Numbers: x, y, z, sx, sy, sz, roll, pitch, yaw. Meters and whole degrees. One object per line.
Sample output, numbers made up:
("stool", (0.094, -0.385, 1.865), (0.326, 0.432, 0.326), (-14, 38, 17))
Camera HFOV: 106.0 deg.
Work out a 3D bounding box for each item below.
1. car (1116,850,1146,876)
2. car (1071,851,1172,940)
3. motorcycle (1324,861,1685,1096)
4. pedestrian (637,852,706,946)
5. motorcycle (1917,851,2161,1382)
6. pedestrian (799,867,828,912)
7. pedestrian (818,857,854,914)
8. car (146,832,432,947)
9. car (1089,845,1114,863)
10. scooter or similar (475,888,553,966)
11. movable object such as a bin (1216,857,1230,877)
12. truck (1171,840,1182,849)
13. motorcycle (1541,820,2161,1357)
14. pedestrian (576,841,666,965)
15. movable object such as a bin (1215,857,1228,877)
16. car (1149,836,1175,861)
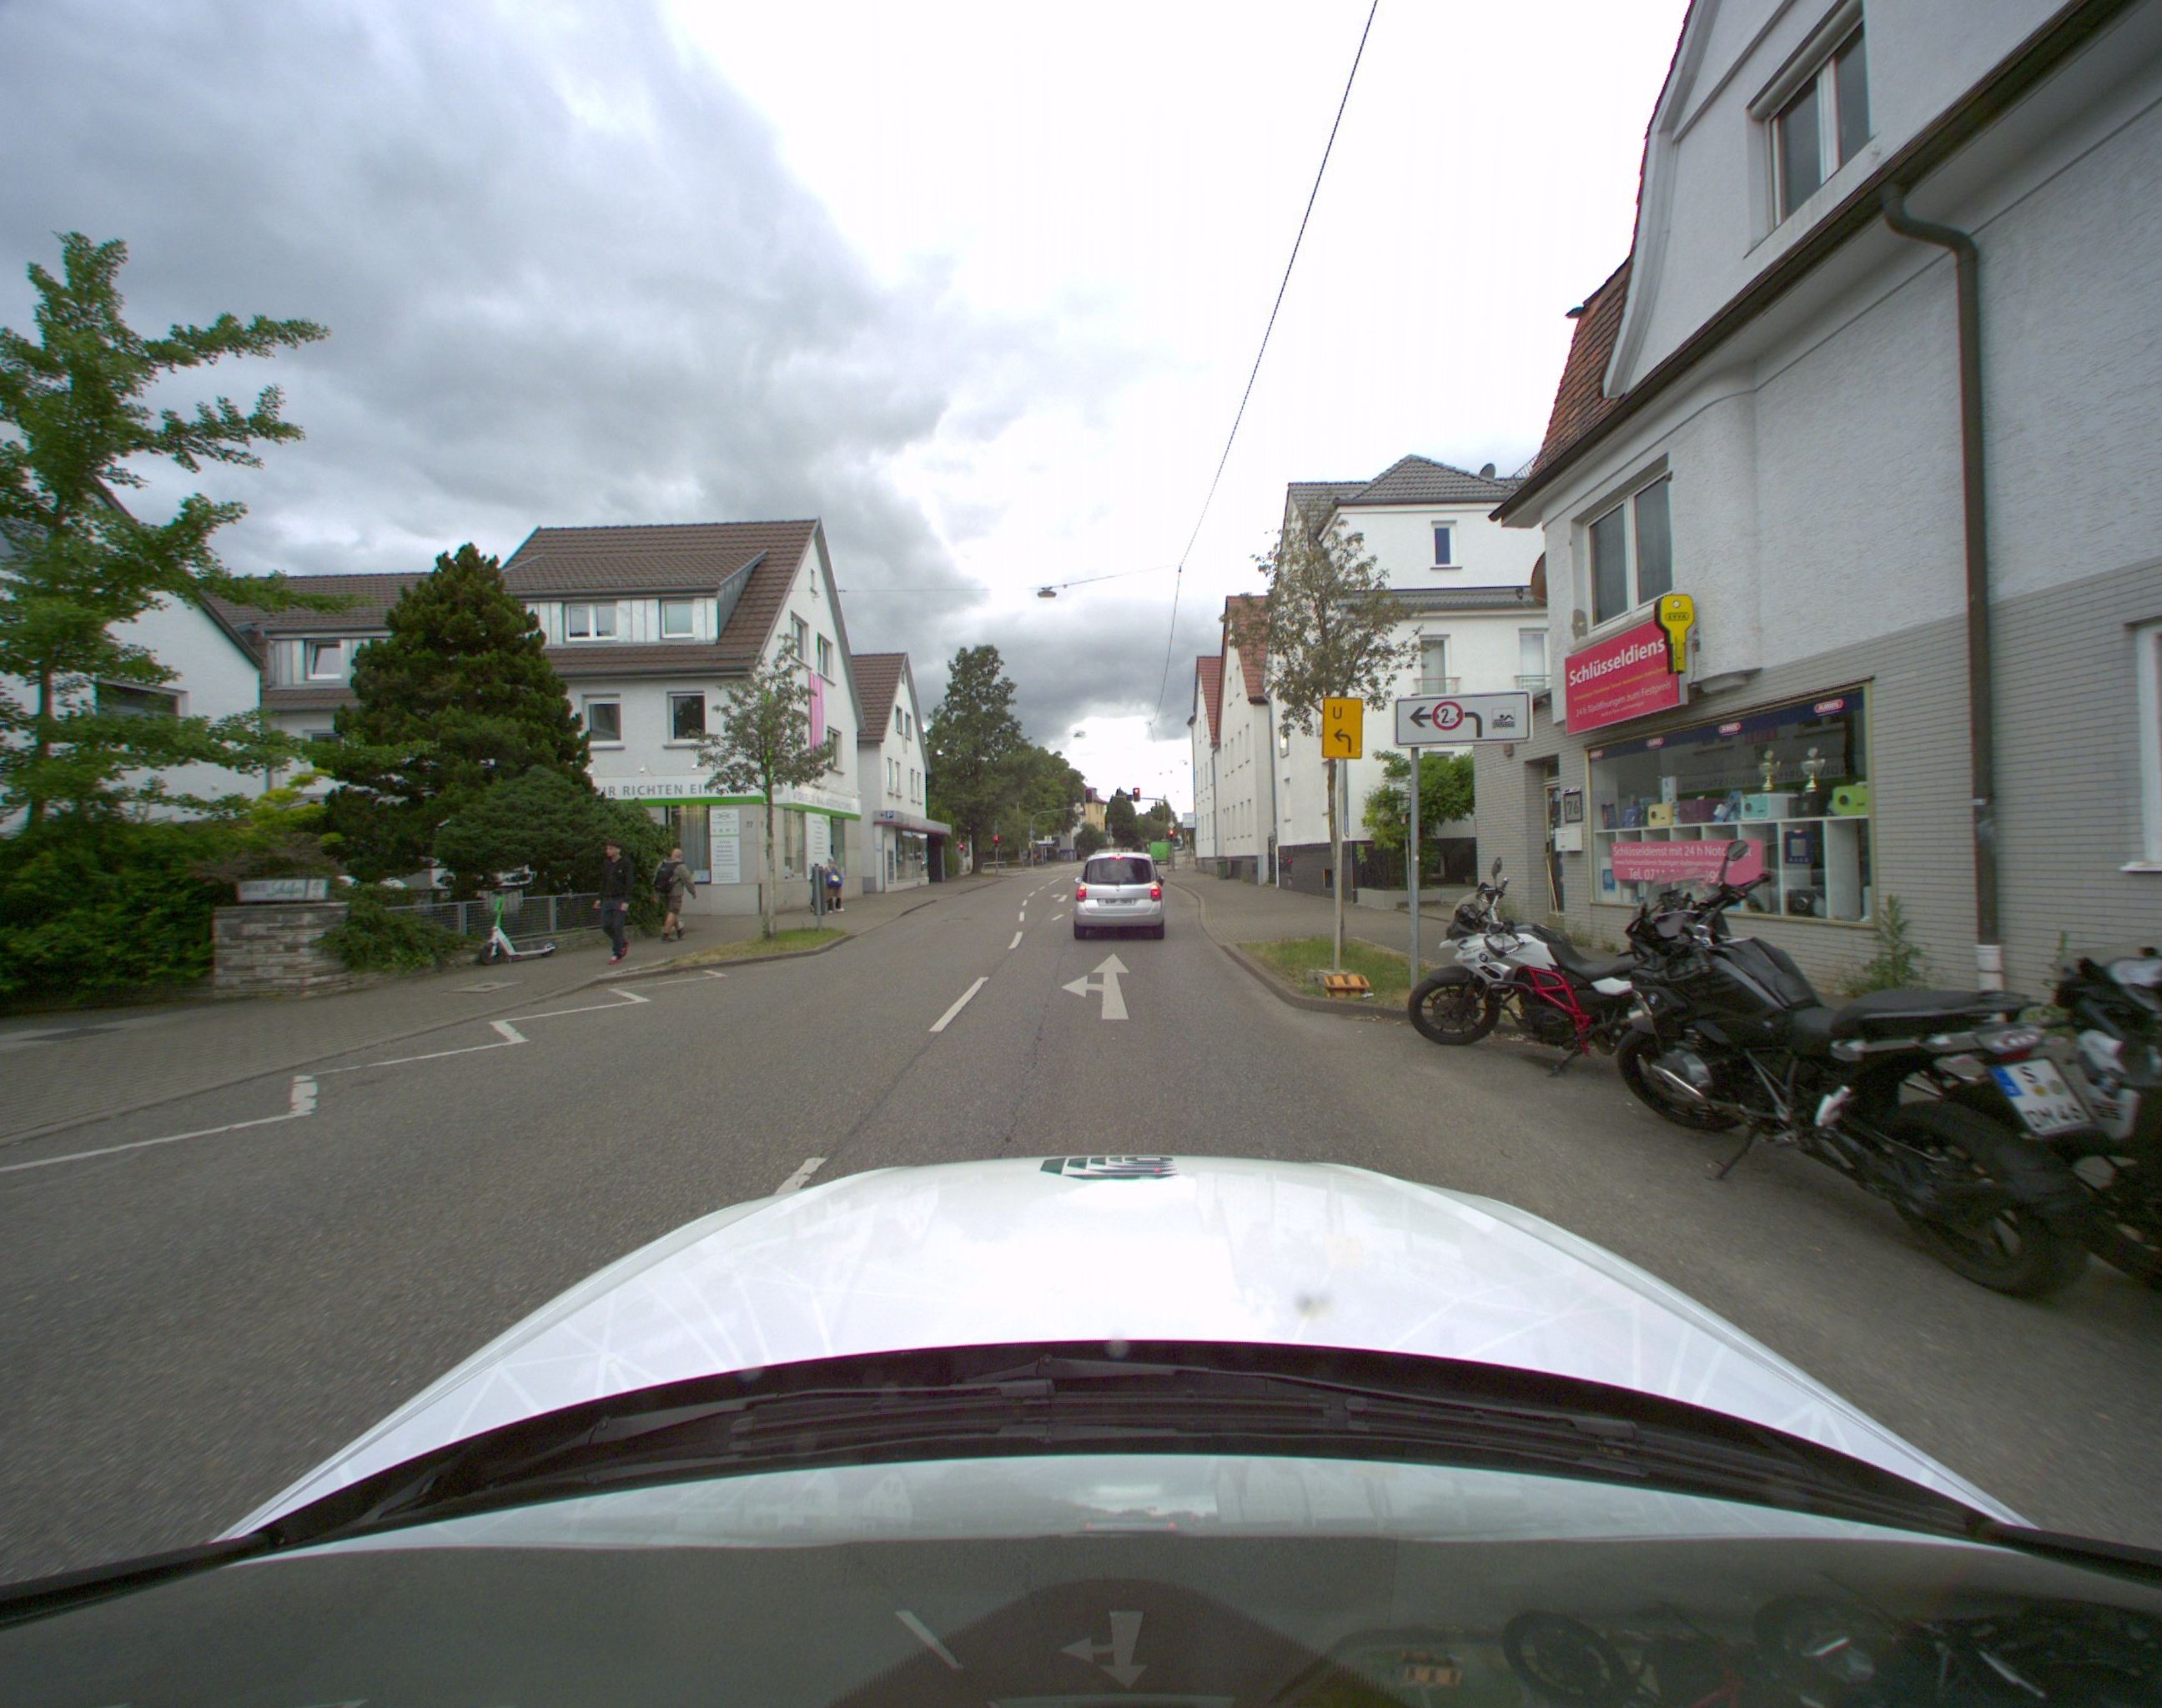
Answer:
("car", (3.066, 0.549, 50.295), (1.748, 1.530, 3.799), (-1, 0, 2))
("car", (0.797, 0.719, 16.205), (1.748, 1.530, 4.003), (-1, 0, 2))
("motorcycle", (2.951, 0.751, 5.963), (0.779, 1.381, 2.219), (-1, 0, -35))
("pedestrian", (-7.839, 0.838, 15.617), (0.748, 1.743, 1.020), (1, 0, 2))
("motorcycle", (3.181, 0.722, 1.945), (0.642, 1.440, 2.482), (-1, 0, 21))
("pedestrian", (-7.840, 1.034, 23.886), (0.597, 1.279, 0.655), (0, 0, 2))
("pedestrian", (-7.125, 0.895, 23.713), (0.748, 1.617, 0.793), (2, 0, 2))
("car", (-19.469, 0.844, 20.166), (5.275, 2.464, 2.003), (-3, 0, 4))
("car", (2.312, 0.013, 91.138), (1.913, 1.773, 4.015), (-6, -1, 13))
("scooter or similar", (-8.843, 1.120, 12.746), (0.338, 1.112, 1.181), (-1, 0, 2))
("movable object such as a bin", (6.809, 0.624, 38.964), (0.537, 0.941, 0.487), (-4, 0, 3))
("truck", (23.689, -2.340, 202.737), (2.087, 2.013, 5.767), (-1, 0, 13))
("motorcycle", (2.959, 0.669, 3.642), (0.667, 1.524, 2.604), (-1, 0, 8))
("pedestrian", (-7.222, 0.734, 12.824), (0.748, 1.849, 1.020), (2, 0, 2))
("movable object such as a bin", (6.813, 0.624, 39.501), (0.537, 0.941, 0.487), (-4, 0, 3))
("car", (8.495, -0.608, 85.386), (2.045, 2.512, 5.614), (-1, 0, 12))
